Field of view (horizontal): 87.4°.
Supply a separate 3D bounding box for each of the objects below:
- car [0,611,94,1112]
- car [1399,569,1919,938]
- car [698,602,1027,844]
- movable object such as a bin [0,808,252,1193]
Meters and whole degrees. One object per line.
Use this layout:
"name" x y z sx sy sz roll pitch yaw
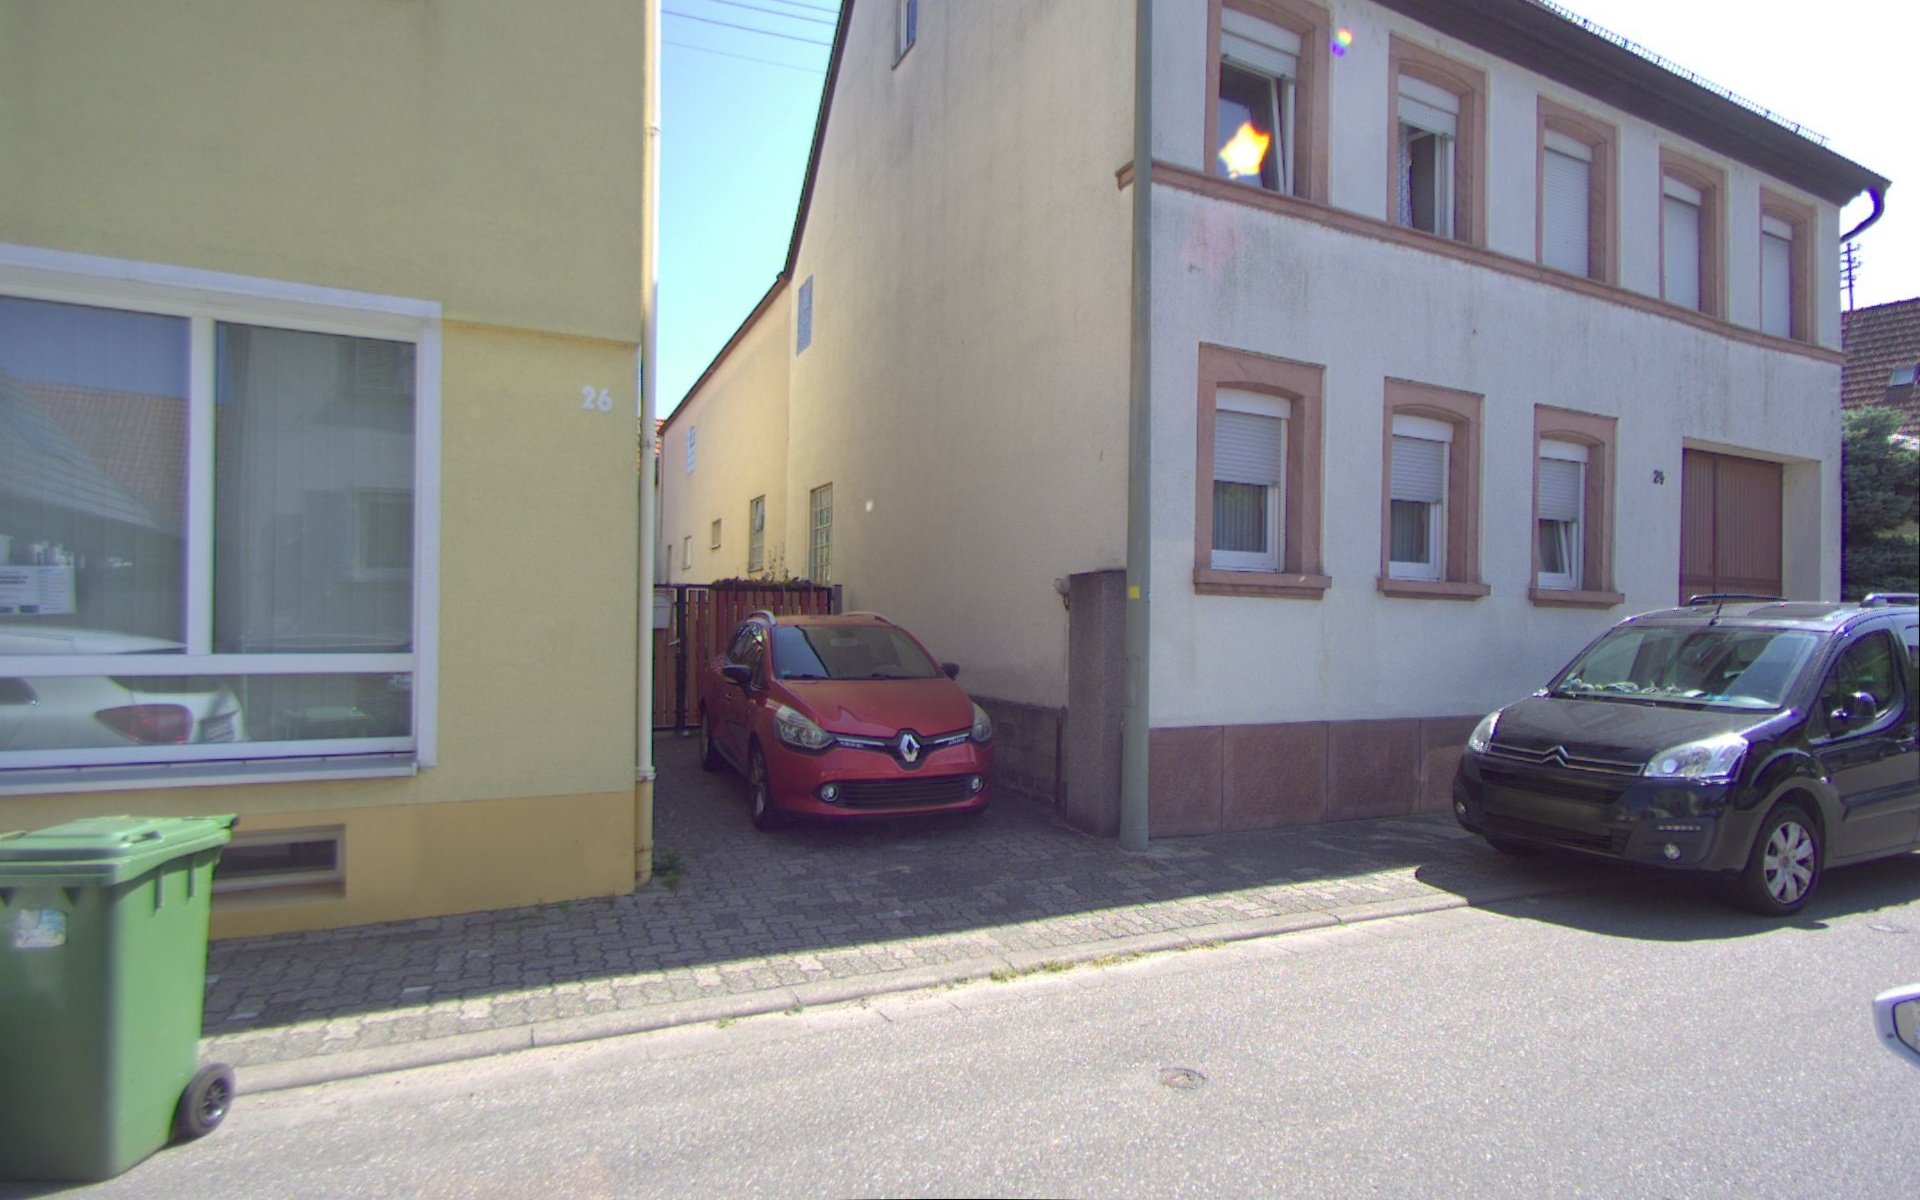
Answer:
"car" -4.642 0.726 1.892 4.219 1.483 1.826 2 -2 -30
"car" 5.268 0.844 6.849 4.295 1.862 1.829 2 -2 -26
"car" -1.024 0.793 8.217 1.651 1.477 3.738 1 -1 -23
"movable object such as a bin" -2.405 1.089 2.845 0.487 0.917 0.426 1 -1 -8
